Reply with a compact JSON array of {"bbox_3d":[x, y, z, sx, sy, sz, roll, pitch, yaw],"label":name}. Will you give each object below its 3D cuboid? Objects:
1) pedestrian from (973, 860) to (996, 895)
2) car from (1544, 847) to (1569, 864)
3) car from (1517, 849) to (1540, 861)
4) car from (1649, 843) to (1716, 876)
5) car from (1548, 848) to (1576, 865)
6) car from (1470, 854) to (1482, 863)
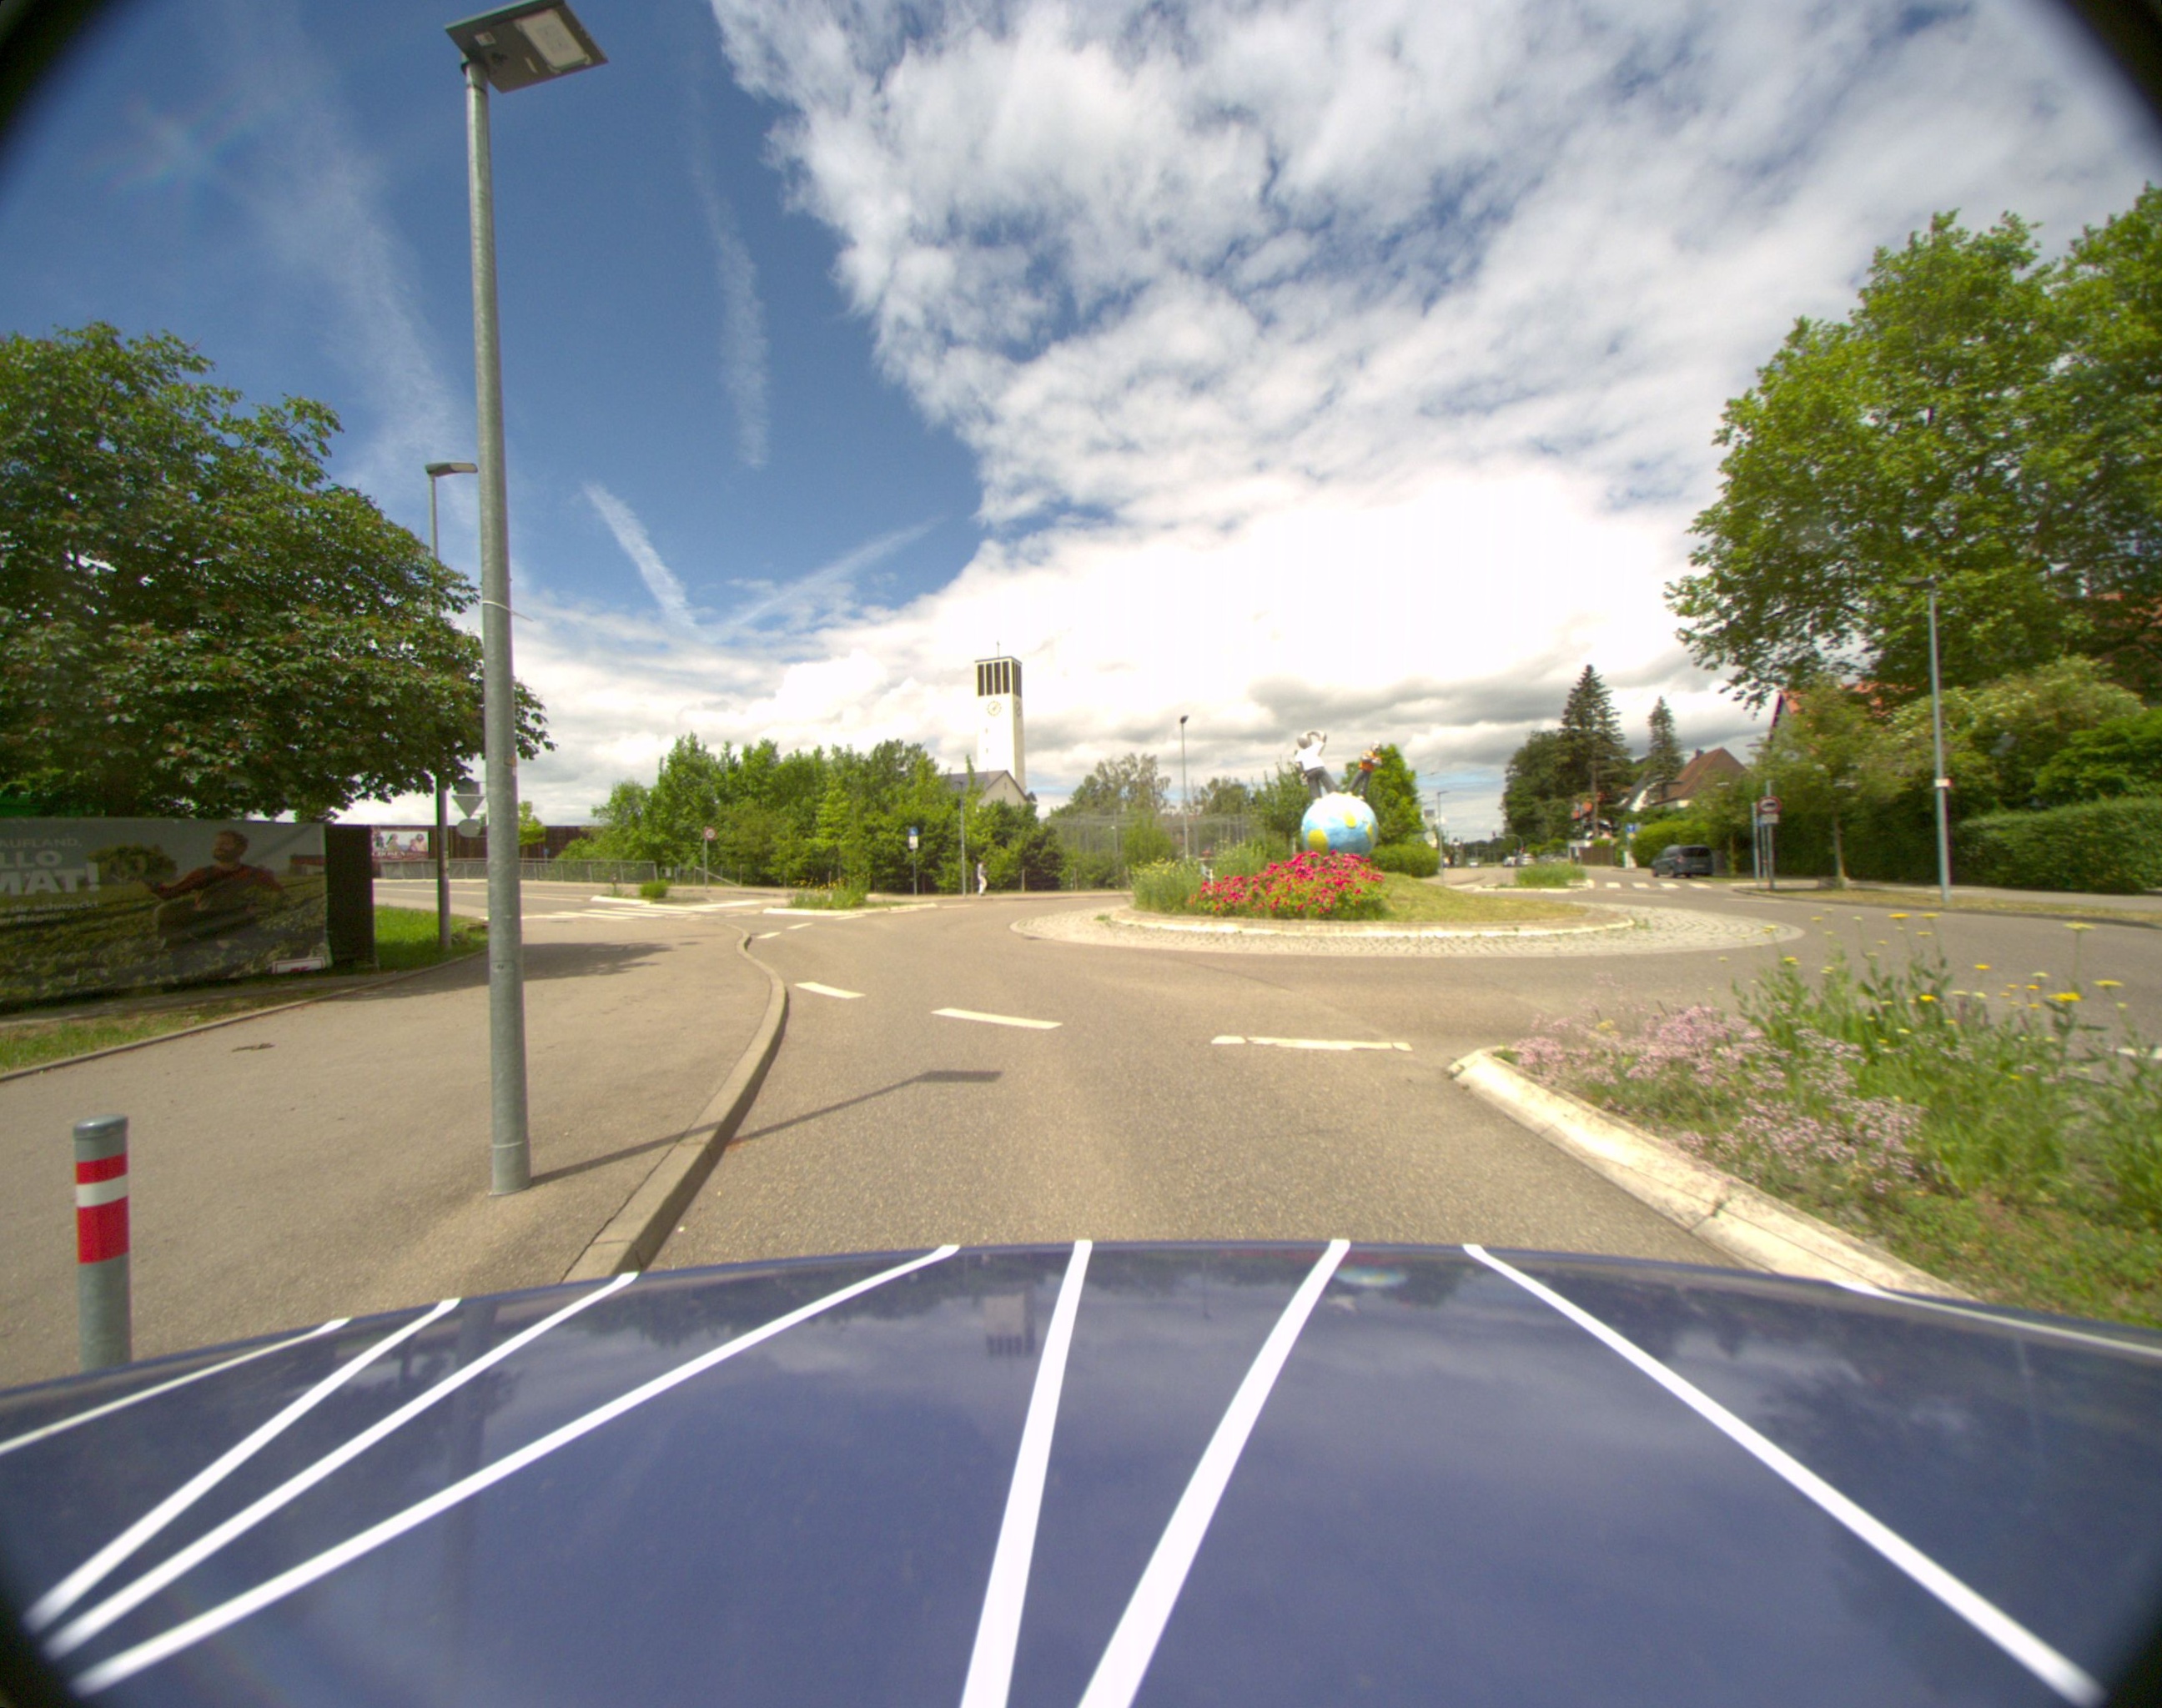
[{"bbox_3d":[-4.337,1.053,34.240,0.457,1.524,0.965,-2,-1,32],"label":"pedestrian"},{"bbox_3d":[50.818,0.147,81.332,1.783,1.568,4.007,-3,0,26],"label":"car"},{"bbox_3d":[61.526,0.115,104.514,1.995,1.696,4.006,-1,0,21],"label":"car"},{"bbox_3d":[32.090,0.269,40.634,1.678,1.652,4.006,-1,0,21],"label":"car"},{"bbox_3d":[48.265,0.228,76.301,1.859,1.568,4.007,-3,0,26],"label":"car"},{"bbox_3d":[79.358,0.916,152.692,1.995,1.696,4.007,-1,0,25],"label":"car"}]
